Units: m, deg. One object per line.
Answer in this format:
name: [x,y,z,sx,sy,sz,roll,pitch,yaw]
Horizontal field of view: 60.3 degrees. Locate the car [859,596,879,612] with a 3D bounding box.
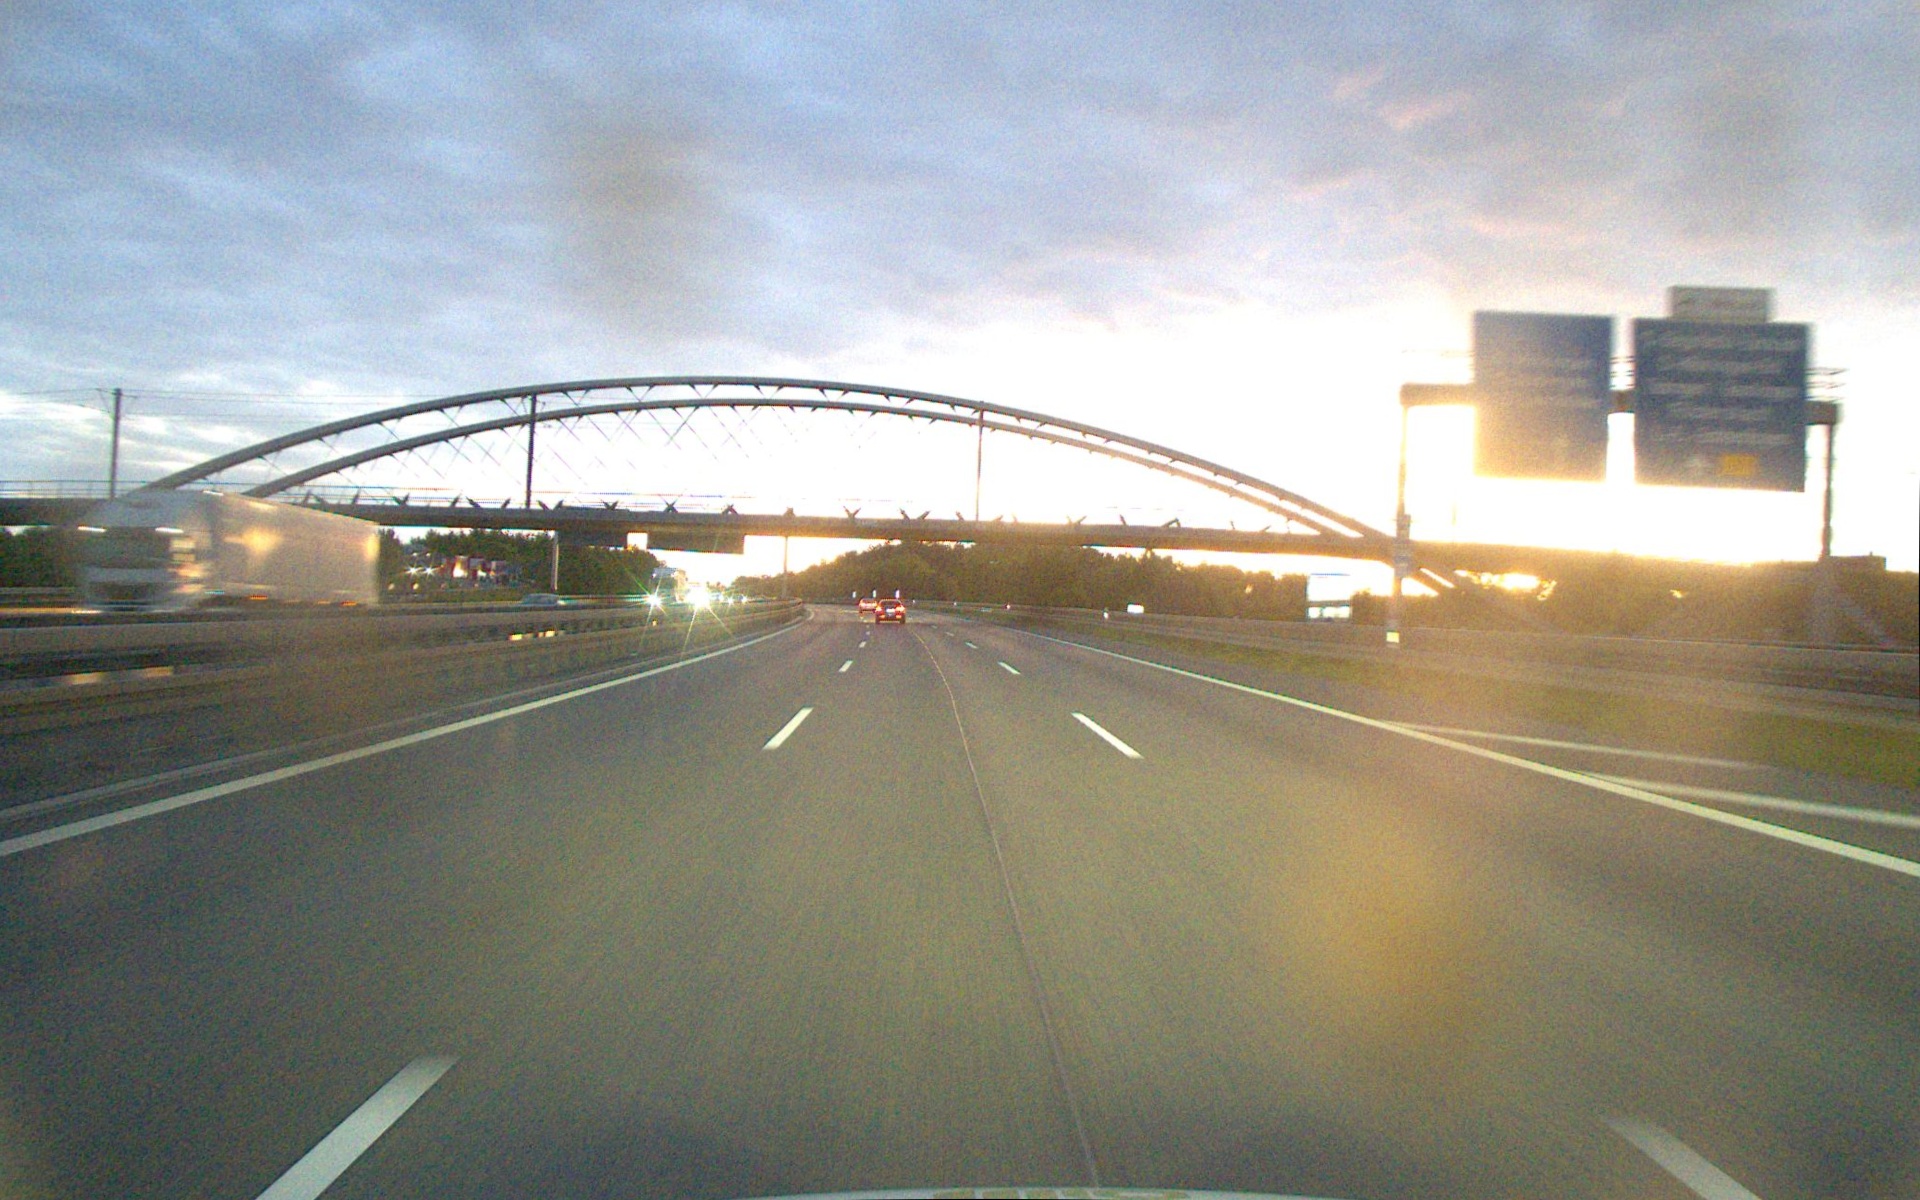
car: [-9.053,0.394,164.415,1.654,1.426,3.409,0,-2,2]

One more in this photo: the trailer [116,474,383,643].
trailer: [-22.045,-1.155,52.712,2.768,4.586,14.620,1,0,-3]

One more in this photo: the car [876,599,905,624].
car: [-4.282,0.727,101.855,1.656,1.426,3.405,1,-1,-4]

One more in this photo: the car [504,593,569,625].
car: [-19.454,0.400,76.115,1.953,1.428,4.328,1,0,-2]

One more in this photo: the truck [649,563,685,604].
truck: [-30.694,-1.713,173.634,2.770,4.119,12.200,1,0,-5]

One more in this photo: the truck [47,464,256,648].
truck: [-21.629,-1.113,44.658,2.768,4.586,6.241,1,0,-3]
